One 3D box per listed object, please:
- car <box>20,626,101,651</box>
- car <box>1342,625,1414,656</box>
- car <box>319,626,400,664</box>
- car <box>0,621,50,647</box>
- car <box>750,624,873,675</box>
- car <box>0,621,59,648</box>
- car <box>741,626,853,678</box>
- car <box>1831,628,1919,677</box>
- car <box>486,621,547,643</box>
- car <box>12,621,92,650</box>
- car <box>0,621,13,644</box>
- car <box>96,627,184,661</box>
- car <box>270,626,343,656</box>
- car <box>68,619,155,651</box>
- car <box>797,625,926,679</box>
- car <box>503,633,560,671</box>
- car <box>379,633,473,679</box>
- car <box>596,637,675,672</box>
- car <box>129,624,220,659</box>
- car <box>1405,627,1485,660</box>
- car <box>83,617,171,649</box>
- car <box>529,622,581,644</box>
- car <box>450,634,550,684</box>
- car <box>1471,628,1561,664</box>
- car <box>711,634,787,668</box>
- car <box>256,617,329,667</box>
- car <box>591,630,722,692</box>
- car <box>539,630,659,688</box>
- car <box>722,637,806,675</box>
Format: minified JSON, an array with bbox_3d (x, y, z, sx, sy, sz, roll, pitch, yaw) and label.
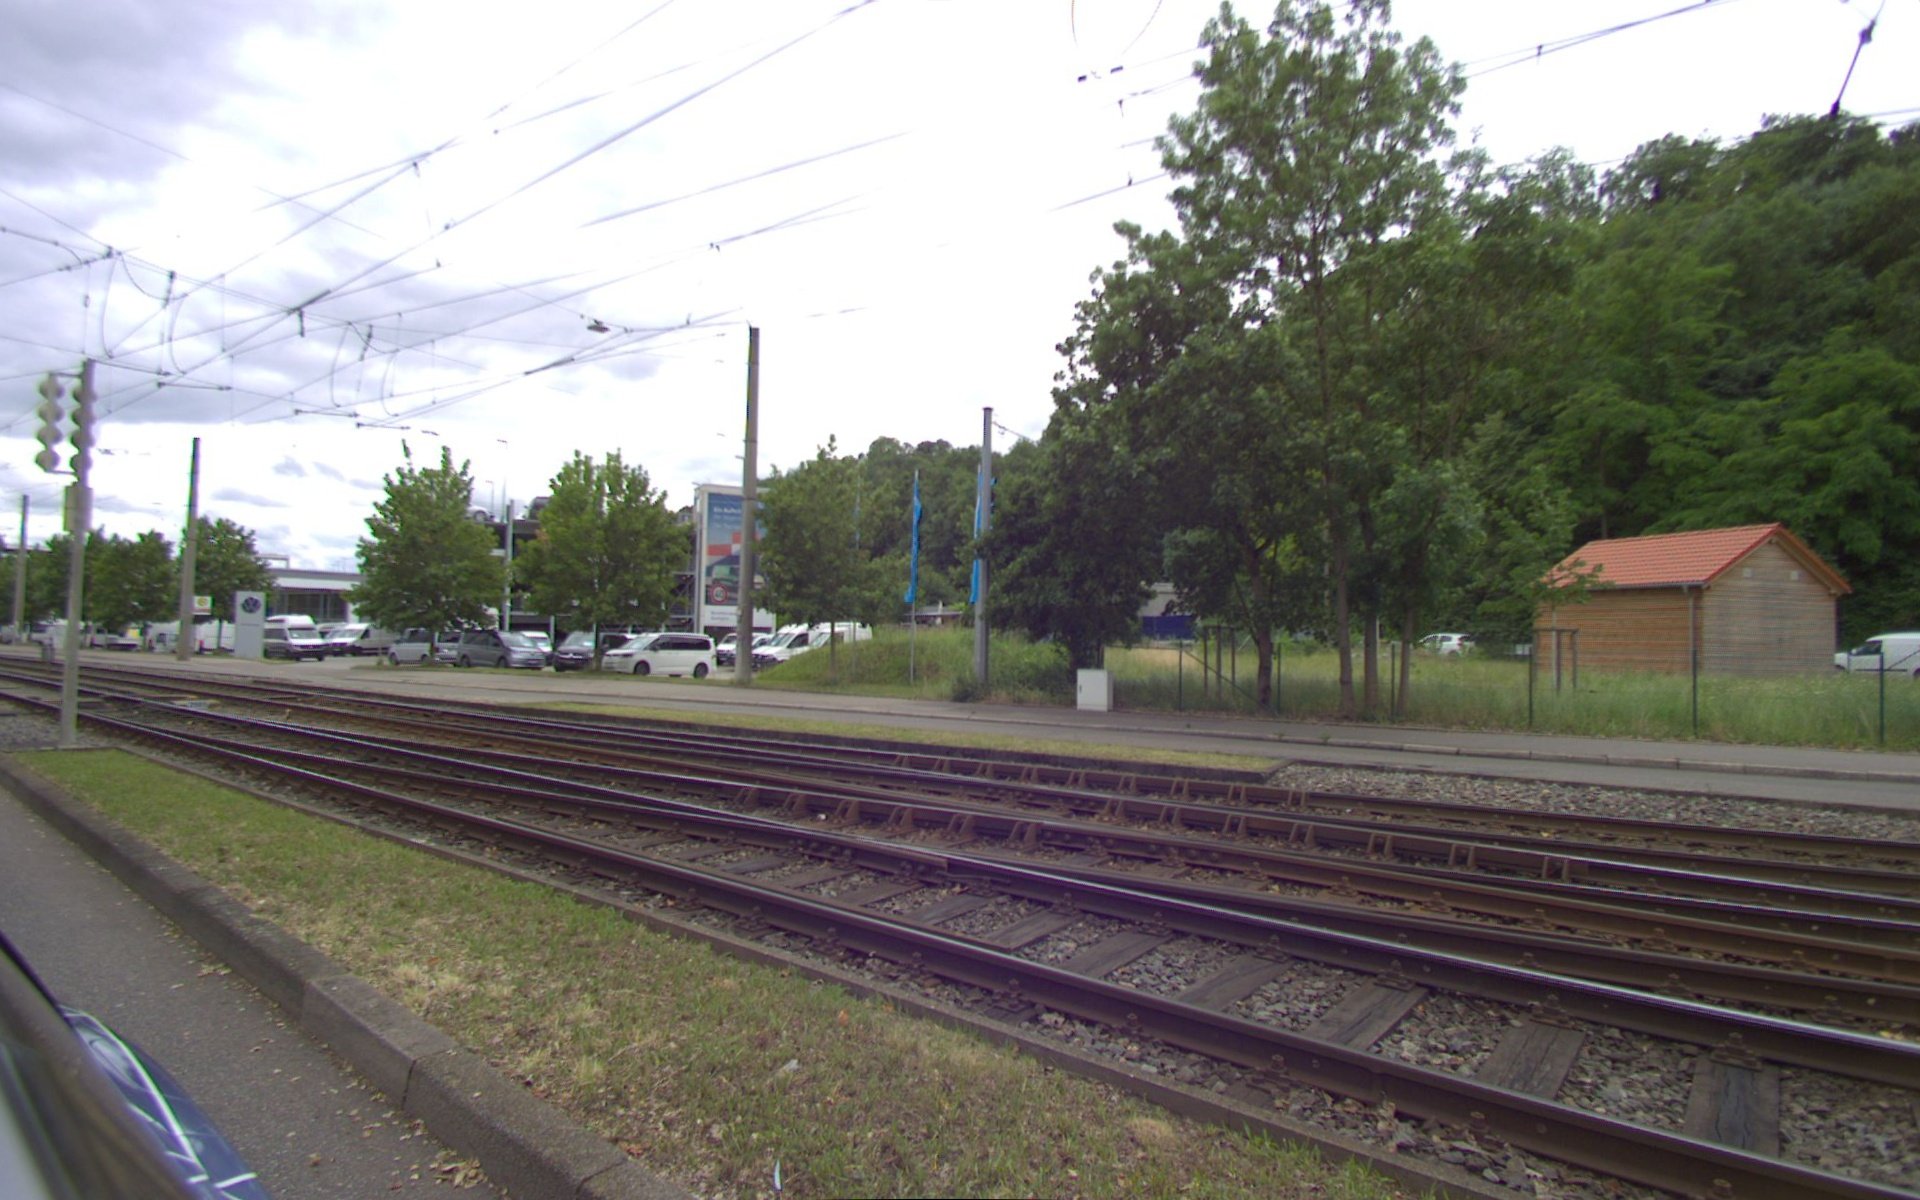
[{"bbox_3d":[-73.594,3.113,82.887,2.102,1.854,4.589,-1,0,32],"label":"car"},{"bbox_3d":[24.486,2.350,59.462,1.727,1.625,3.693,-1,0,-25],"label":"car"},{"bbox_3d":[-46.464,3.440,78.525,2.293,2.642,6.036,-1,0,6],"label":"car"},{"bbox_3d":[-85.612,3.083,91.521,2.102,2.225,4.589,-1,0,32],"label":"car"},{"bbox_3d":[-7.451,2.455,51.002,5.751,2.284,2.060,-1,0,-28],"label":"car"},{"bbox_3d":[-83.589,3.057,90.146,2.102,2.225,4.589,-1,0,32],"label":"car"},{"bbox_3d":[-8.705,2.724,54.253,5.568,2.479,1.986,-1,0,-31],"label":"car"},{"bbox_3d":[34.195,1.870,36.534,1.877,1.625,3.693,-1,0,-22],"label":"car"},{"bbox_3d":[-41.800,2.981,95.385,5.138,1.850,1.986,-1,0,-29],"label":"car"},{"bbox_3d":[-75.572,2.953,84.281,2.102,2.225,4.589,-1,0,32],"label":"car"},{"bbox_3d":[-94.067,3.193,96.861,2.102,2.225,4.589,-1,0,32],"label":"car"},{"bbox_3d":[-59.419,3.169,73.400,2.102,2.225,4.589,-1,0,32],"label":"car"},{"bbox_3d":[-53.650,3.325,83.128,2.107,2.225,4.579,-1,0,39],"label":"car"},{"bbox_3d":[-63.849,2.627,76.228,2.102,2.225,4.589,-1,0,32],"label":"car"},{"bbox_3d":[-4.686,2.420,48.369,5.762,2.284,2.060,-1,0,-28],"label":"car"},{"bbox_3d":[-24.503,2.935,57.816,1.872,1.907,4.606,-1,0,-38],"label":"car"},{"bbox_3d":[-27.037,2.790,51.208,4.761,2.132,2.119,-1,0,32],"label":"car"},{"bbox_3d":[-19.414,3.213,60.621,4.165,1.850,1.986,-1,0,-31],"label":"car"},{"bbox_3d":[-54.930,2.849,70.823,2.102,2.225,4.589,-1,0,32],"label":"car"},{"bbox_3d":[26.497,2.325,55.390,1.727,1.625,3.693,-1,0,-25],"label":"car"},{"bbox_3d":[-61.471,2.397,74.744,2.102,2.225,4.589,-1,0,32],"label":"car"},{"bbox_3d":[-36.943,2.968,92.359,4.164,1.850,1.986,-1,0,-29],"label":"car"},{"bbox_3d":[-21.754,2.721,47.825,4.763,2.132,2.118,-1,0,34],"label":"car"},{"bbox_3d":[28.193,2.303,51.436,1.727,1.625,3.693,-1,0,-22],"label":"car"},{"bbox_3d":[-12.969,3.128,62.222,4.165,1.850,1.986,-1,0,-31],"label":"car"},{"bbox_3d":[-43.168,2.665,65.417,6.154,3.034,2.291,-1,0,40],"label":"car"},{"bbox_3d":[-12.836,2.528,43.100,1.997,2.284,5.206,-1,0,37],"label":"car"},{"bbox_3d":[-15.980,2.569,45.050,1.977,2.284,4.717,-1,0,37],"label":"car"},{"bbox_3d":[-10.905,3.067,56.260,4.165,1.850,1.986,-1,0,-31],"label":"car"}]
